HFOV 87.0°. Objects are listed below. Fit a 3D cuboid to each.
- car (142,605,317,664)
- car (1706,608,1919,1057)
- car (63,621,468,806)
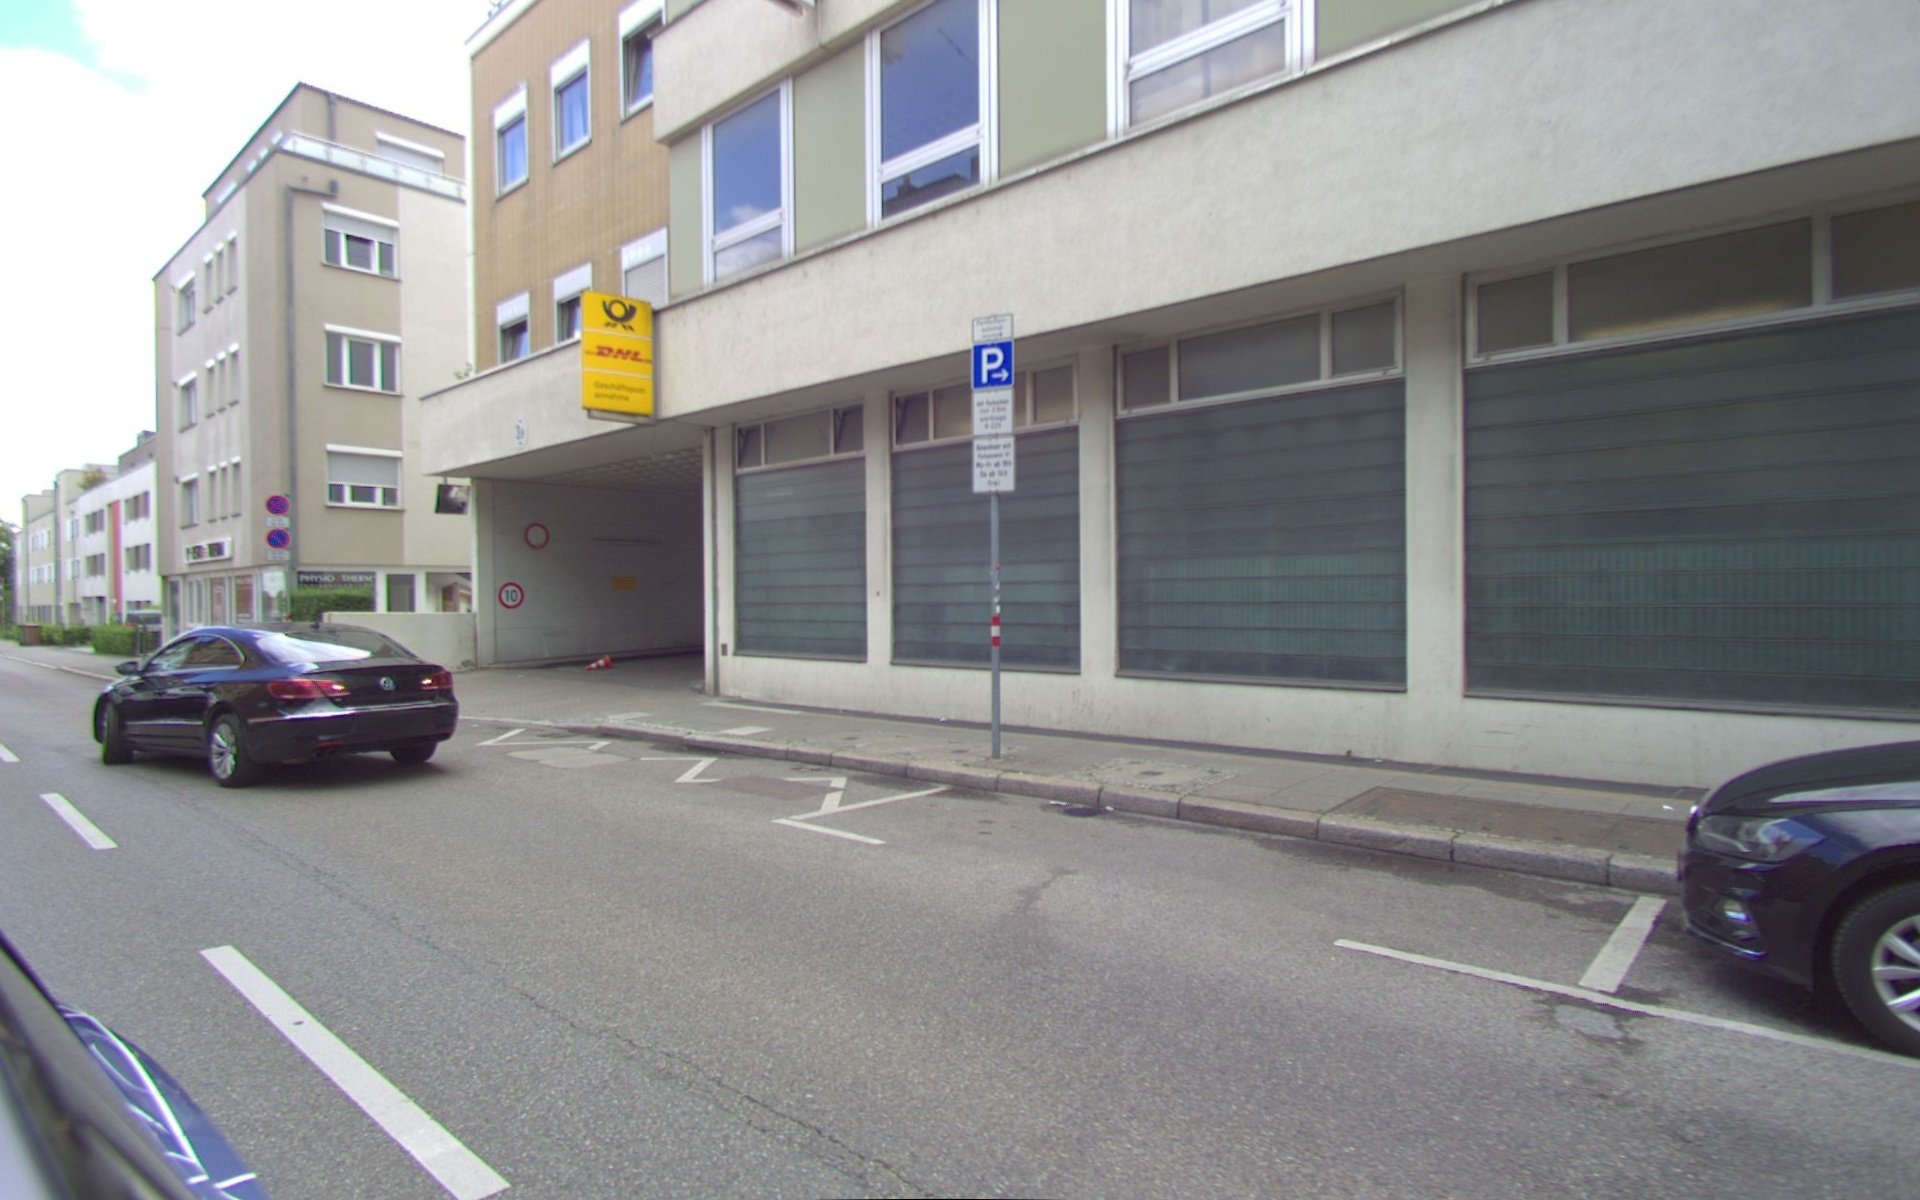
[{"bbox_3d":[-27.009,1.213,37.567,1.967,2.013,5.014,-1,-1,44],"label":"car"},{"bbox_3d":[4.678,0.741,2.999,3.868,1.436,1.699,-1,-2,40],"label":"car"},{"bbox_3d":[-6.864,0.936,9.858,4.439,1.409,1.639,-1,0,32],"label":"car"}]
